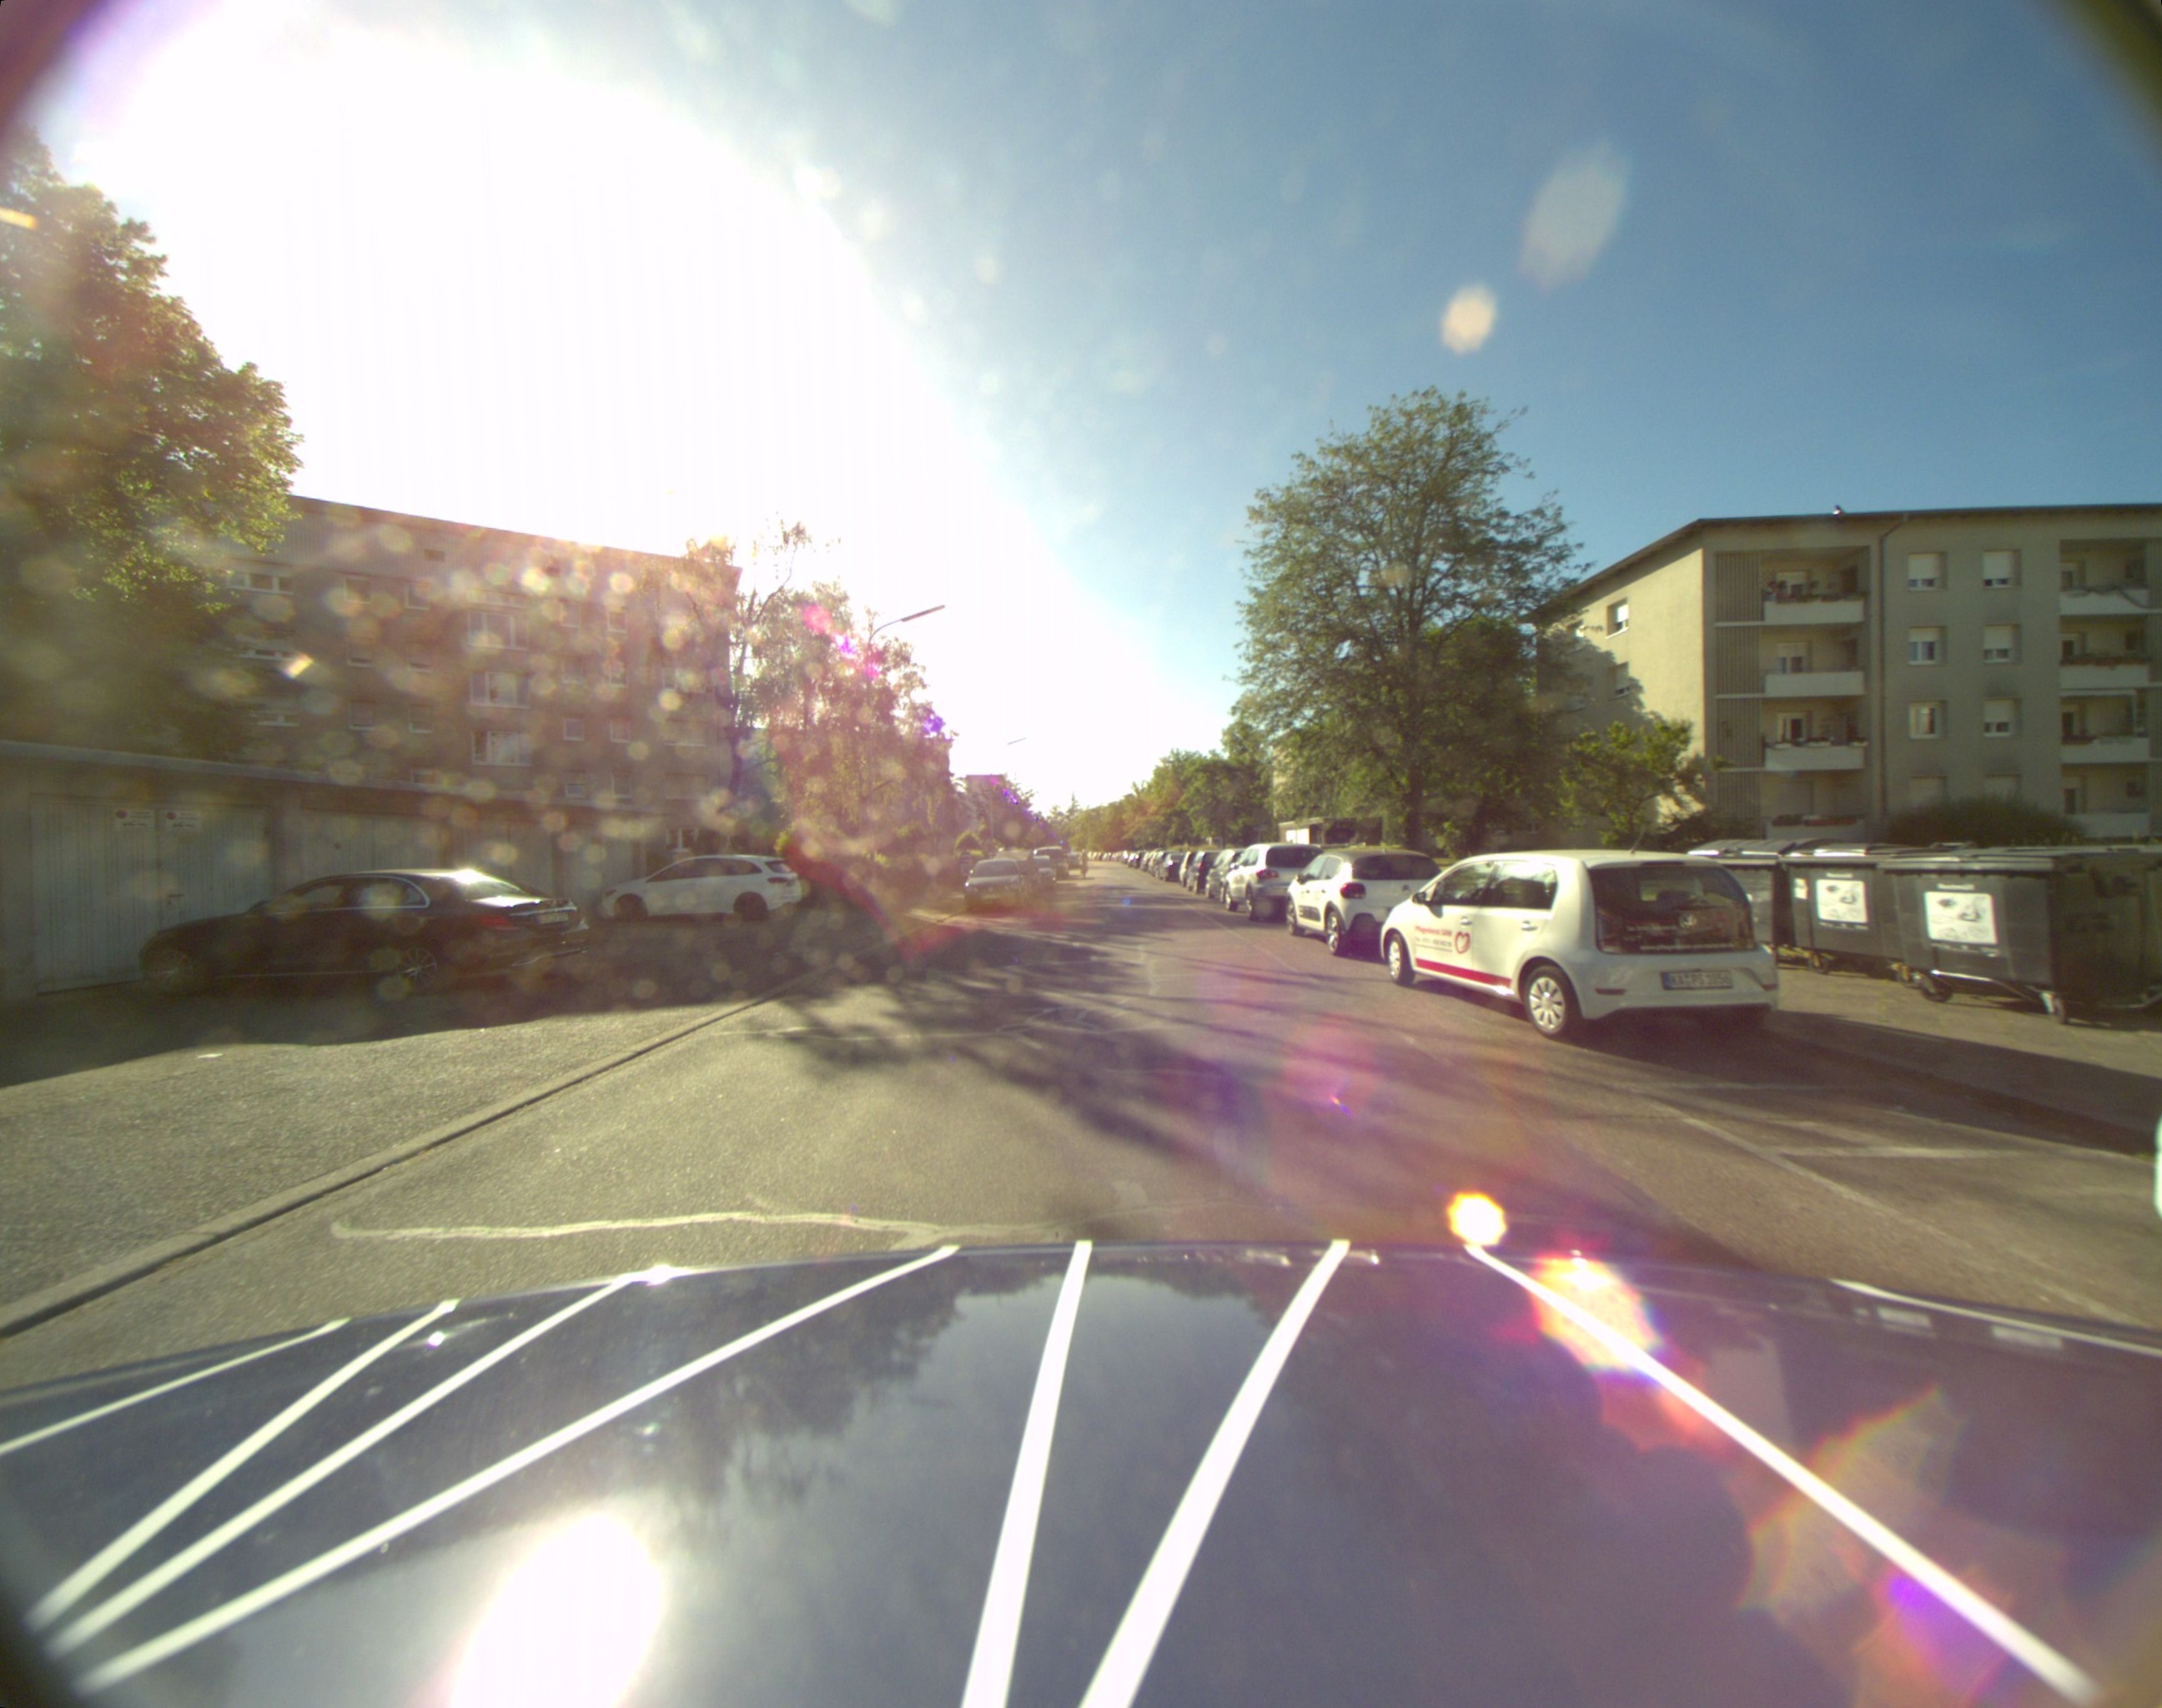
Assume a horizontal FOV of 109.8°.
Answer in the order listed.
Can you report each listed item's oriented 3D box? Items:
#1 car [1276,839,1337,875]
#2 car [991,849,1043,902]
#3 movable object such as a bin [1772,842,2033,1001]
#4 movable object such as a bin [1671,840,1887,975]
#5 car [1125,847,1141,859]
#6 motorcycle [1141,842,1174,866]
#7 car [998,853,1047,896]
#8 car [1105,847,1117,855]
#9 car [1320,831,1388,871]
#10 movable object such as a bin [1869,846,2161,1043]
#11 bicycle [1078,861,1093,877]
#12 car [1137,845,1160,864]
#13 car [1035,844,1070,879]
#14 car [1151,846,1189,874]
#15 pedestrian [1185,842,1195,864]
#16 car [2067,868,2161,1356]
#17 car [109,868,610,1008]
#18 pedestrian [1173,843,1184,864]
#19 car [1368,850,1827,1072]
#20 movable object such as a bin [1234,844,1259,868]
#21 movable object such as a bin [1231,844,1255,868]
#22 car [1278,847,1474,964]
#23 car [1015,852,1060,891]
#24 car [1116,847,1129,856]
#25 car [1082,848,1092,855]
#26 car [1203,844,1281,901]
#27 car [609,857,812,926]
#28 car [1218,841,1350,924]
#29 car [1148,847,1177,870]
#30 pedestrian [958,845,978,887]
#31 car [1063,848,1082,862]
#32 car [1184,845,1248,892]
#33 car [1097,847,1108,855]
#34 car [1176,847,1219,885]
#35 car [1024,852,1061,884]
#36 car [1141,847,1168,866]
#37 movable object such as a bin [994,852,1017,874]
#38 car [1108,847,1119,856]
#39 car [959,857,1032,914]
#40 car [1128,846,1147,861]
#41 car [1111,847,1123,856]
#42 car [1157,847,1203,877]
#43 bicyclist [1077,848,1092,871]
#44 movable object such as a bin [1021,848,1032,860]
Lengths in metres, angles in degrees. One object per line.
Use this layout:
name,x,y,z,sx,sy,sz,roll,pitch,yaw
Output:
car,10.435,0.091,35.417,1.574,1.516,3.999,-2,1,-1
car,-2.208,0.706,26.797,1.492,1.708,2.583,-3,1,1
movable object such as a bin,7.919,0.604,7.425,1.139,1.350,1.243,-4,1,3
movable object such as a bin,7.986,0.567,8.808,1.139,1.375,1.442,-4,1,3
car,6.529,-0.173,96.381,1.758,1.377,4.673,0,1,0
motorcycle,5.491,0.002,54.667,2.262,1.717,0.932,1,1,-2
car,-2.254,0.753,29.626,1.418,1.515,2.558,-3,1,5
car,5.600,-0.507,143.007,1.658,1.470,3.733,0,1,-6
car,12.371,-0.159,34.646,1.574,1.631,3.999,-2,1,-1
movable object such as a bin,7.608,0.641,6.074,1.180,1.332,1.343,-4,1,3
bicycle,0.271,0.883,45.999,0.824,0.896,2.203,-2,1,3
car,6.005,0.051,68.380,1.758,1.626,4.370,1,1,1
car,-1.675,0.390,46.209,1.857,1.923,4.704,-3,1,1
car,5.220,0.299,44.913,1.759,1.565,3.719,1,1,0
pedestrian,8.730,-0.078,60.872,0.722,1.669,0.600,-2,1,1
car,4.216,0.828,0.653,1.691,1.526,3.890,0,1,1
car,-8.646,0.966,9.396,4.524,1.505,1.829,0,1,3
pedestrian,7.818,-0.047,60.903,0.722,1.669,0.616,-2,1,1
car,4.281,0.727,7.059,1.667,1.504,3.536,-1,1,-5
movable object such as a bin,9.789,0.100,44.964,1.180,1.332,1.343,-2,1,3
movable object such as a bin,9.863,0.121,46.323,1.180,1.400,1.343,-2,1,2
car,4.340,0.654,11.837,1.666,1.504,3.945,0,1,2
car,-1.861,0.737,33.675,1.736,1.481,4.500,-3,1,-1
car,6.820,-0.471,126.035,1.811,1.470,3.939,0,1,-1
car,1.231,-0.498,154.015,1.915,1.468,4.570,-1,1,1
car,4.778,0.505,23.008,1.640,1.597,3.534,0,1,0
car,-8.757,0.854,18.231,3.953,1.505,1.828,-1,1,-2
car,4.425,0.544,17.262,1.907,1.630,4.348,0,1,1
car,5.473,0.304,51.459,1.758,1.472,3.959,1,1,3
pedestrian,-5.102,0.522,34.379,0.705,1.878,0.872,1,1,2
car,-0.865,0.094,82.168,1.808,1.486,3.795,-2,1,2
car,4.911,0.475,28.072,1.758,1.597,3.968,1,1,2
car,4.289,-0.652,150.631,1.658,1.621,4.069,0,1,-5
car,5.132,0.505,33.812,1.448,1.565,3.142,1,1,0
car,-1.939,0.676,39.545,1.627,1.481,4.035,-3,1,1
car,5.630,0.183,58.369,1.758,1.413,4.269,1,1,1
movable object such as a bin,-4.759,0.552,48.139,1.028,1.302,1.388,2,1,11
car,5.901,-0.459,138.042,1.658,1.470,3.104,0,1,-3
car,-2.438,0.870,22.536,1.736,1.395,3.894,-3,1,-1
car,5.594,-0.050,75.232,1.758,1.417,4.210,1,1,3
car,6.258,-0.489,131.220,1.635,1.470,3.878,0,1,-4
car,5.087,0.382,39.537,1.758,1.472,4.537,1,1,0
bicyclist,0.238,0.297,45.808,0.812,1.348,1.091,-2,1,2
movable object such as a bin,-6.775,-0.003,93.984,1.328,1.423,1.029,-2,1,-5
